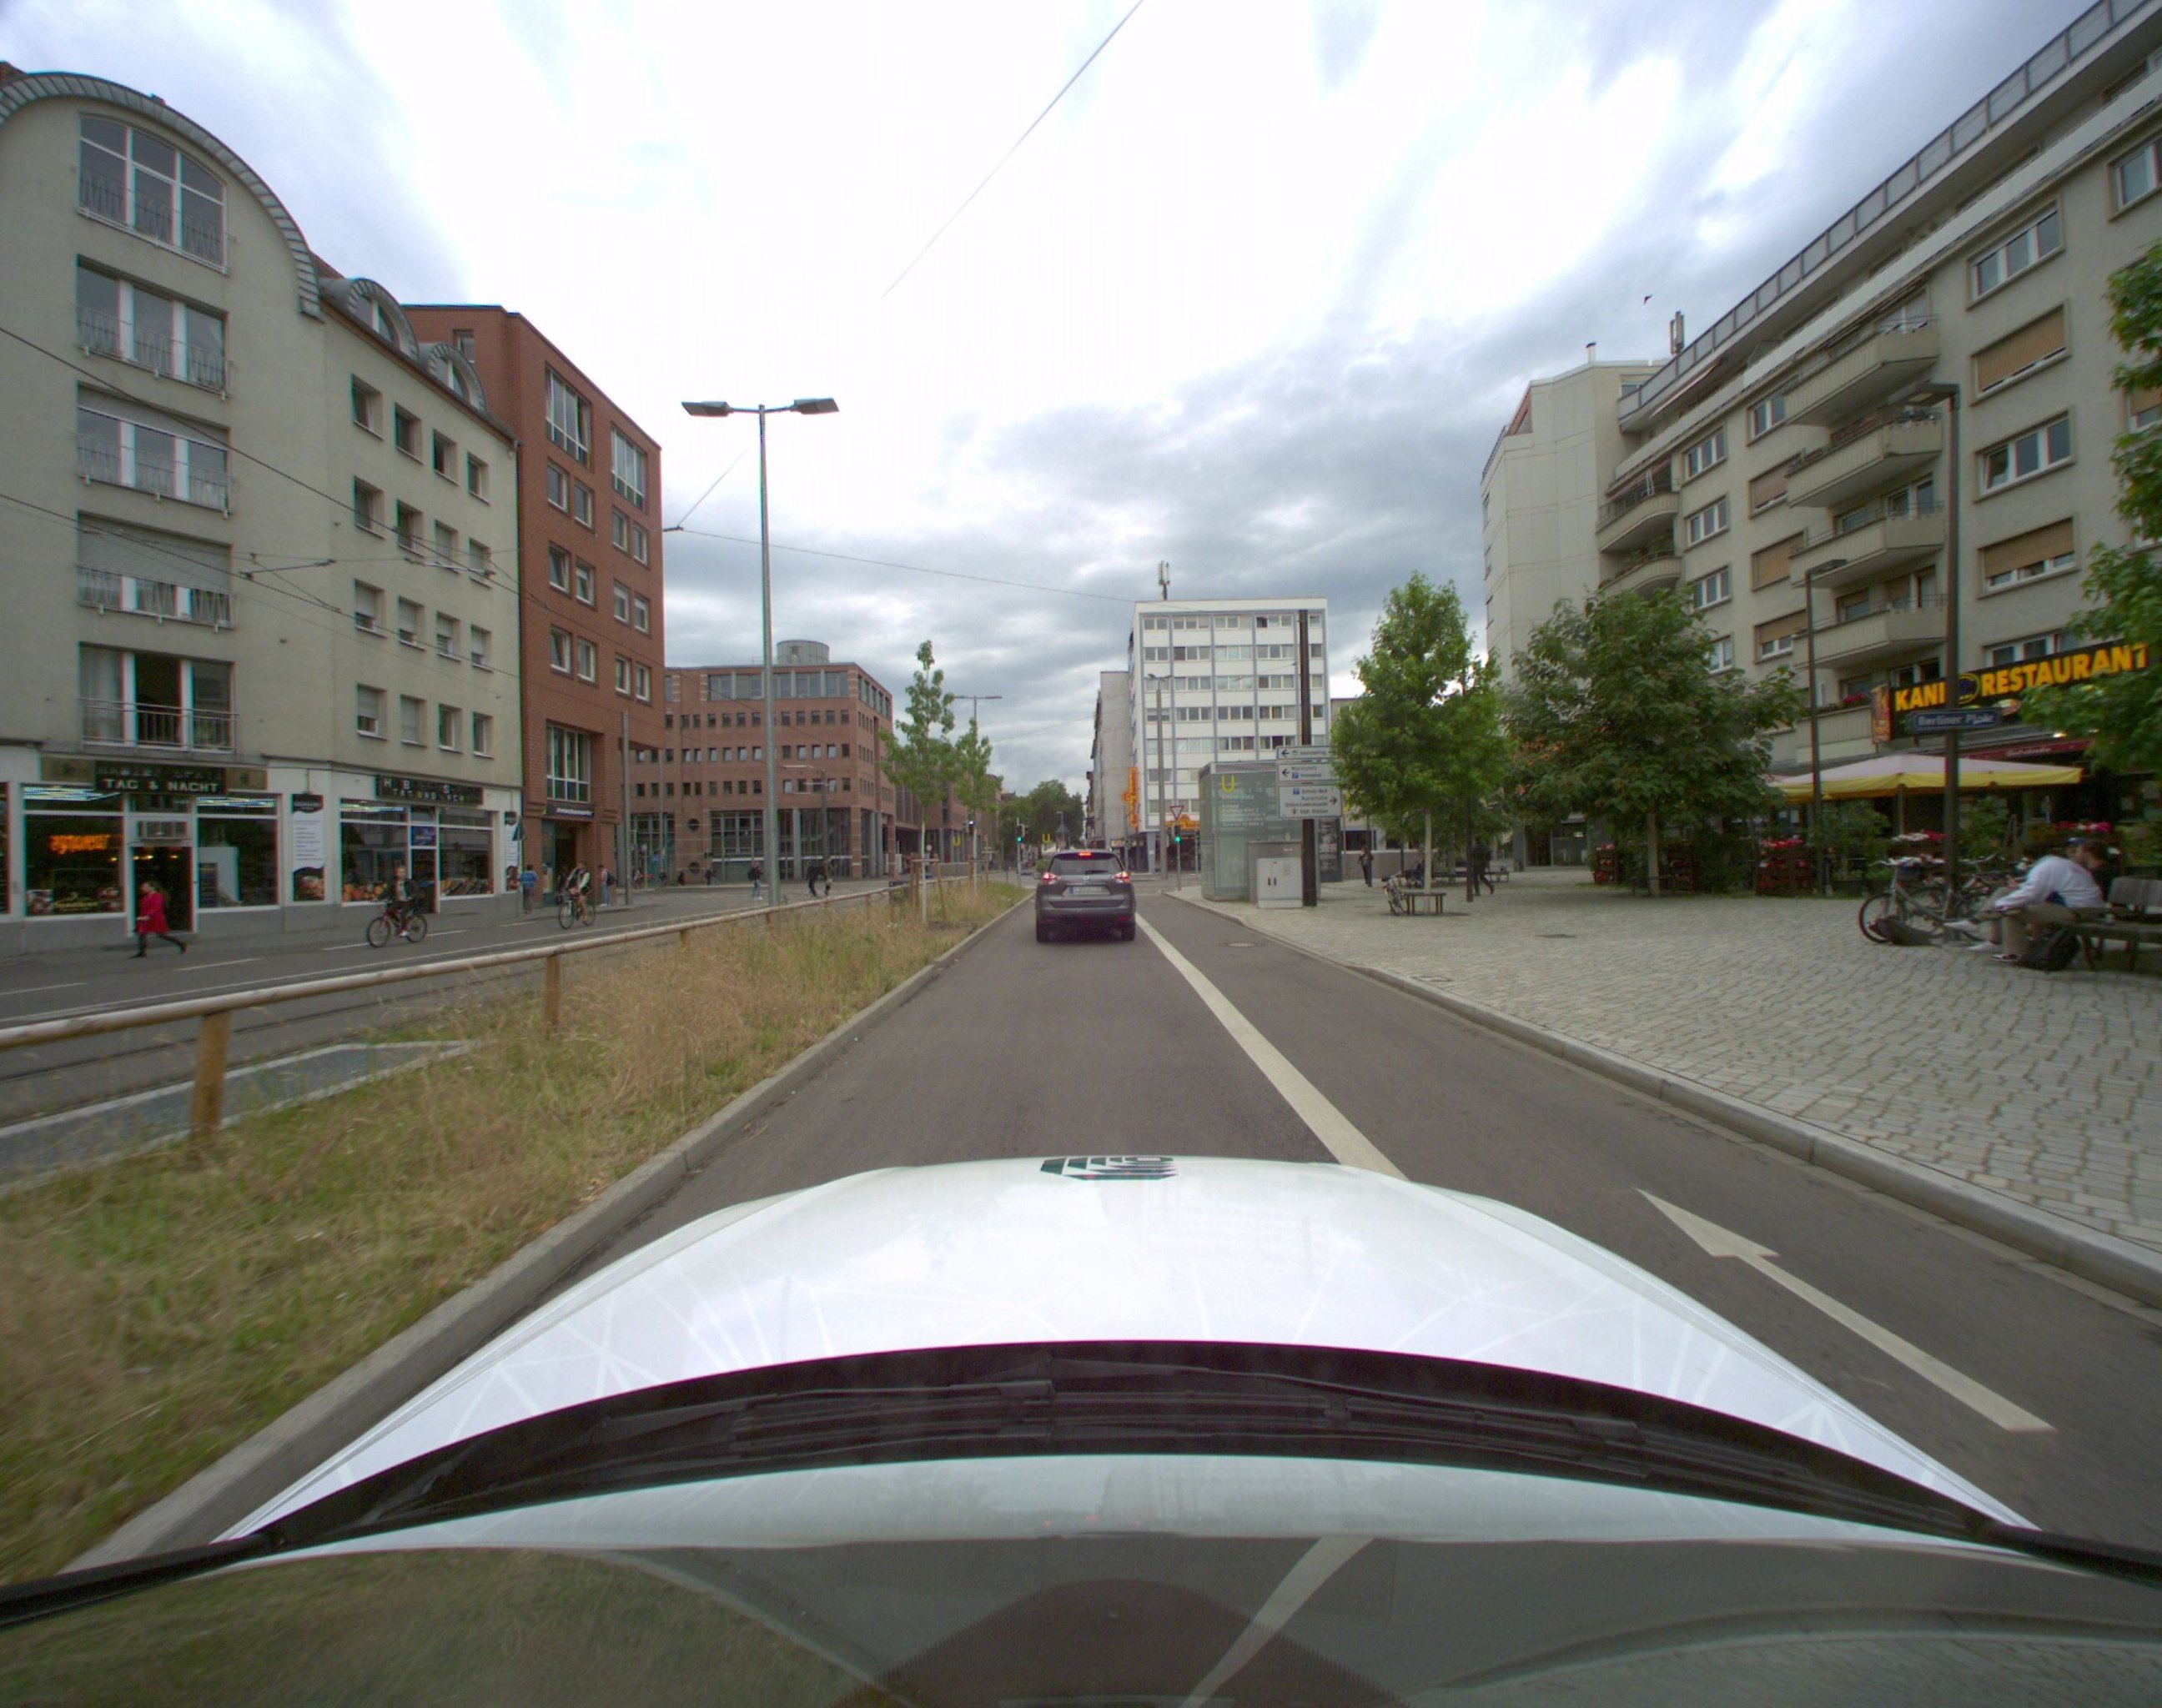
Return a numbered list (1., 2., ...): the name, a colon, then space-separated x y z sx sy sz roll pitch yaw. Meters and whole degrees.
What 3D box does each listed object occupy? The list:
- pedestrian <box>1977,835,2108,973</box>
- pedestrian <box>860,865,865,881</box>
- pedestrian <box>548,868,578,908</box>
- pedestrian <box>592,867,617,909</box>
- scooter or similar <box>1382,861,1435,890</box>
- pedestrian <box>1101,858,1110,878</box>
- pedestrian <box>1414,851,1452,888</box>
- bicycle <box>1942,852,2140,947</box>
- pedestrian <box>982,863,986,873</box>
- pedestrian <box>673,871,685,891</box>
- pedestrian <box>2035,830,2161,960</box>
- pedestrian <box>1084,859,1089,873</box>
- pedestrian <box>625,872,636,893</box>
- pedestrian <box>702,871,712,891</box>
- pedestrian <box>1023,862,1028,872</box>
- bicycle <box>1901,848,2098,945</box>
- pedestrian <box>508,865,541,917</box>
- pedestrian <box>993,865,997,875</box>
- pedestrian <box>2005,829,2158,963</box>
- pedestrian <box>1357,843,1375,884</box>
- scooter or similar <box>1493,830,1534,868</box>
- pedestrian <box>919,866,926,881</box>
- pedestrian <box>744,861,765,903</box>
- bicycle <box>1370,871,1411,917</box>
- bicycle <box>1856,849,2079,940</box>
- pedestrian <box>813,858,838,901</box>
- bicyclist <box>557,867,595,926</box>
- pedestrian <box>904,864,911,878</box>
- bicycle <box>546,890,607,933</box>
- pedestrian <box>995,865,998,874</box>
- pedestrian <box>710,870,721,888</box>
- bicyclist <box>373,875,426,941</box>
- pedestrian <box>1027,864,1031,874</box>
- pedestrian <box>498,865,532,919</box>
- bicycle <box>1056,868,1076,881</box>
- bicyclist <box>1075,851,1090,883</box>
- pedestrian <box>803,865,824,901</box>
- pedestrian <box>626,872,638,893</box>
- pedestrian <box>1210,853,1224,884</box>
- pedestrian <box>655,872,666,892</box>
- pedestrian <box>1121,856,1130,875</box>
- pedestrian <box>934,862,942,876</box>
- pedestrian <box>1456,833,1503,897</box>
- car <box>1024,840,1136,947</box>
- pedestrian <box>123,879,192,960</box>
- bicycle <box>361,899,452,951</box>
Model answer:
1. pedestrian: 9.969 0.495 8.461 0.630 1.366 0.683 0 -1 -19
2. pedestrian: -21.358 1.818 79.626 0.450 1.532 0.519 0 -1 -18
3. pedestrian: -22.075 1.443 34.717 0.742 1.684 0.798 0 -2 -5
4. pedestrian: -19.633 1.396 33.576 0.568 1.684 0.798 0 -2 -4
5. scooter or similar: 11.828 0.789 29.430 1.571 0.948 0.729 -4 -1 38
6. pedestrian: 2.276 1.336 75.746 0.712 1.832 1.014 0 -1 -8
7. pedestrian: 12.935 0.562 29.941 1.039 1.297 0.734 -3 -1 5
8. bicycle: 12.007 0.569 10.233 1.589 1.111 0.479 -3 -1 14
9. pedestrian: -17.179 2.451 144.050 0.600 1.714 0.654 0 -1 -8
10. pedestrian: -32.445 2.188 65.739 0.569 1.561 0.745 -1 -2 5
11. pedestrian: 11.545 0.430 9.099 0.538 1.366 1.286 -1 -1 17
12. pedestrian: 0.650 1.480 101.348 0.641 1.705 0.559 0 -1 0
13. pedestrian: -35.058 2.221 63.416 0.572 1.612 0.628 0 -2 -8
14. pedestrian: -32.548 2.336 70.866 0.743 1.688 0.571 0 -2 -15
15. pedestrian: -8.641 2.005 126.711 0.600 1.536 0.654 0 -1 -8
16. bicycle: 11.358 0.527 10.120 1.589 1.111 0.479 -3 -1 14
17. pedestrian: -18.725 1.248 27.414 0.660 1.687 0.720 -2 -2 -9
18. pedestrian: -14.727 2.779 139.604 0.600 1.714 0.654 0 -1 -8
19. pedestrian: 10.816 0.436 8.848 0.623 1.366 0.923 -1 -1 17
20. pedestrian: 12.212 0.411 34.890 0.666 1.761 0.644 -1 -1 15
21. scooter or similar: 21.808 -0.244 41.134 1.077 1.806 2.279 -2 0 8
22. pedestrian: -19.710 2.371 101.340 0.736 1.842 0.696 0 -1 -28
23. pedestrian: -14.875 1.263 37.115 0.609 1.890 0.798 -1 -2 -2
24. bicycle: 7.303 0.927 19.178 0.651 0.978 1.765 -2 -1 28
25. bicycle: 11.673 0.543 10.788 2.019 1.111 0.479 -3 -1 15
26. pedestrian: -11.407 1.154 36.394 0.894 1.890 0.798 0 -2 -3
27. bicyclist: -13.684 1.127 22.066 0.490 1.540 0.811 -2 -1 -2
28. pedestrian: -22.434 2.220 105.029 0.735 1.842 0.697 0 -1 -25
29. bicycle: -13.666 1.538 22.130 0.475 1.021 1.911 -2 -1 -1
30. pedestrian: -15.587 2.882 149.826 0.600 1.714 0.654 0 -1 -8
31. pedestrian: -32.296 2.231 71.918 0.742 1.561 0.572 0 -2 -12
32. bicyclist: -15.161 1.182 18.128 0.477 1.407 0.811 -2 -1 -2
33. pedestrian: -9.113 2.641 143.369 0.600 1.714 0.654 0 -1 -8
34. pedestrian: -17.913 1.197 25.793 0.660 1.687 0.719 -1 -2 -13
35. bicycle: -1.413 1.964 78.913 1.870 1.172 0.528 0 -1 -15
36. bicyclist: 0.075 0.746 47.031 0.831 1.812 0.878 -1 -1 2
37. pedestrian: -12.566 1.360 38.232 0.742 1.684 0.798 0 -2 -5
38. pedestrian: -34.575 2.217 62.752 0.572 1.612 0.628 0 -2 -8
39. pedestrian: 7.816 0.837 46.848 0.621 1.761 0.777 0 -1 -8
40. pedestrian: -32.933 2.196 63.797 0.572 1.574 0.628 0 -2 -8
41. pedestrian: 4.071 1.011 74.237 0.705 1.705 0.737 -1 -1 12
42. pedestrian: -18.729 1.947 106.656 0.694 1.842 0.738 -1 -1 19
43. pedestrian: 11.754 0.339 24.046 0.711 1.802 1.077 -4 -1 -1
44. car: 0.125 0.692 16.344 1.855 1.775 4.571 -3 0 3
45. pedestrian: -19.977 1.402 17.637 0.720 1.687 0.659 -1 -2 -11
46. bicycle: -15.161 1.572 18.358 0.478 1.021 1.911 -2 -1 -1
